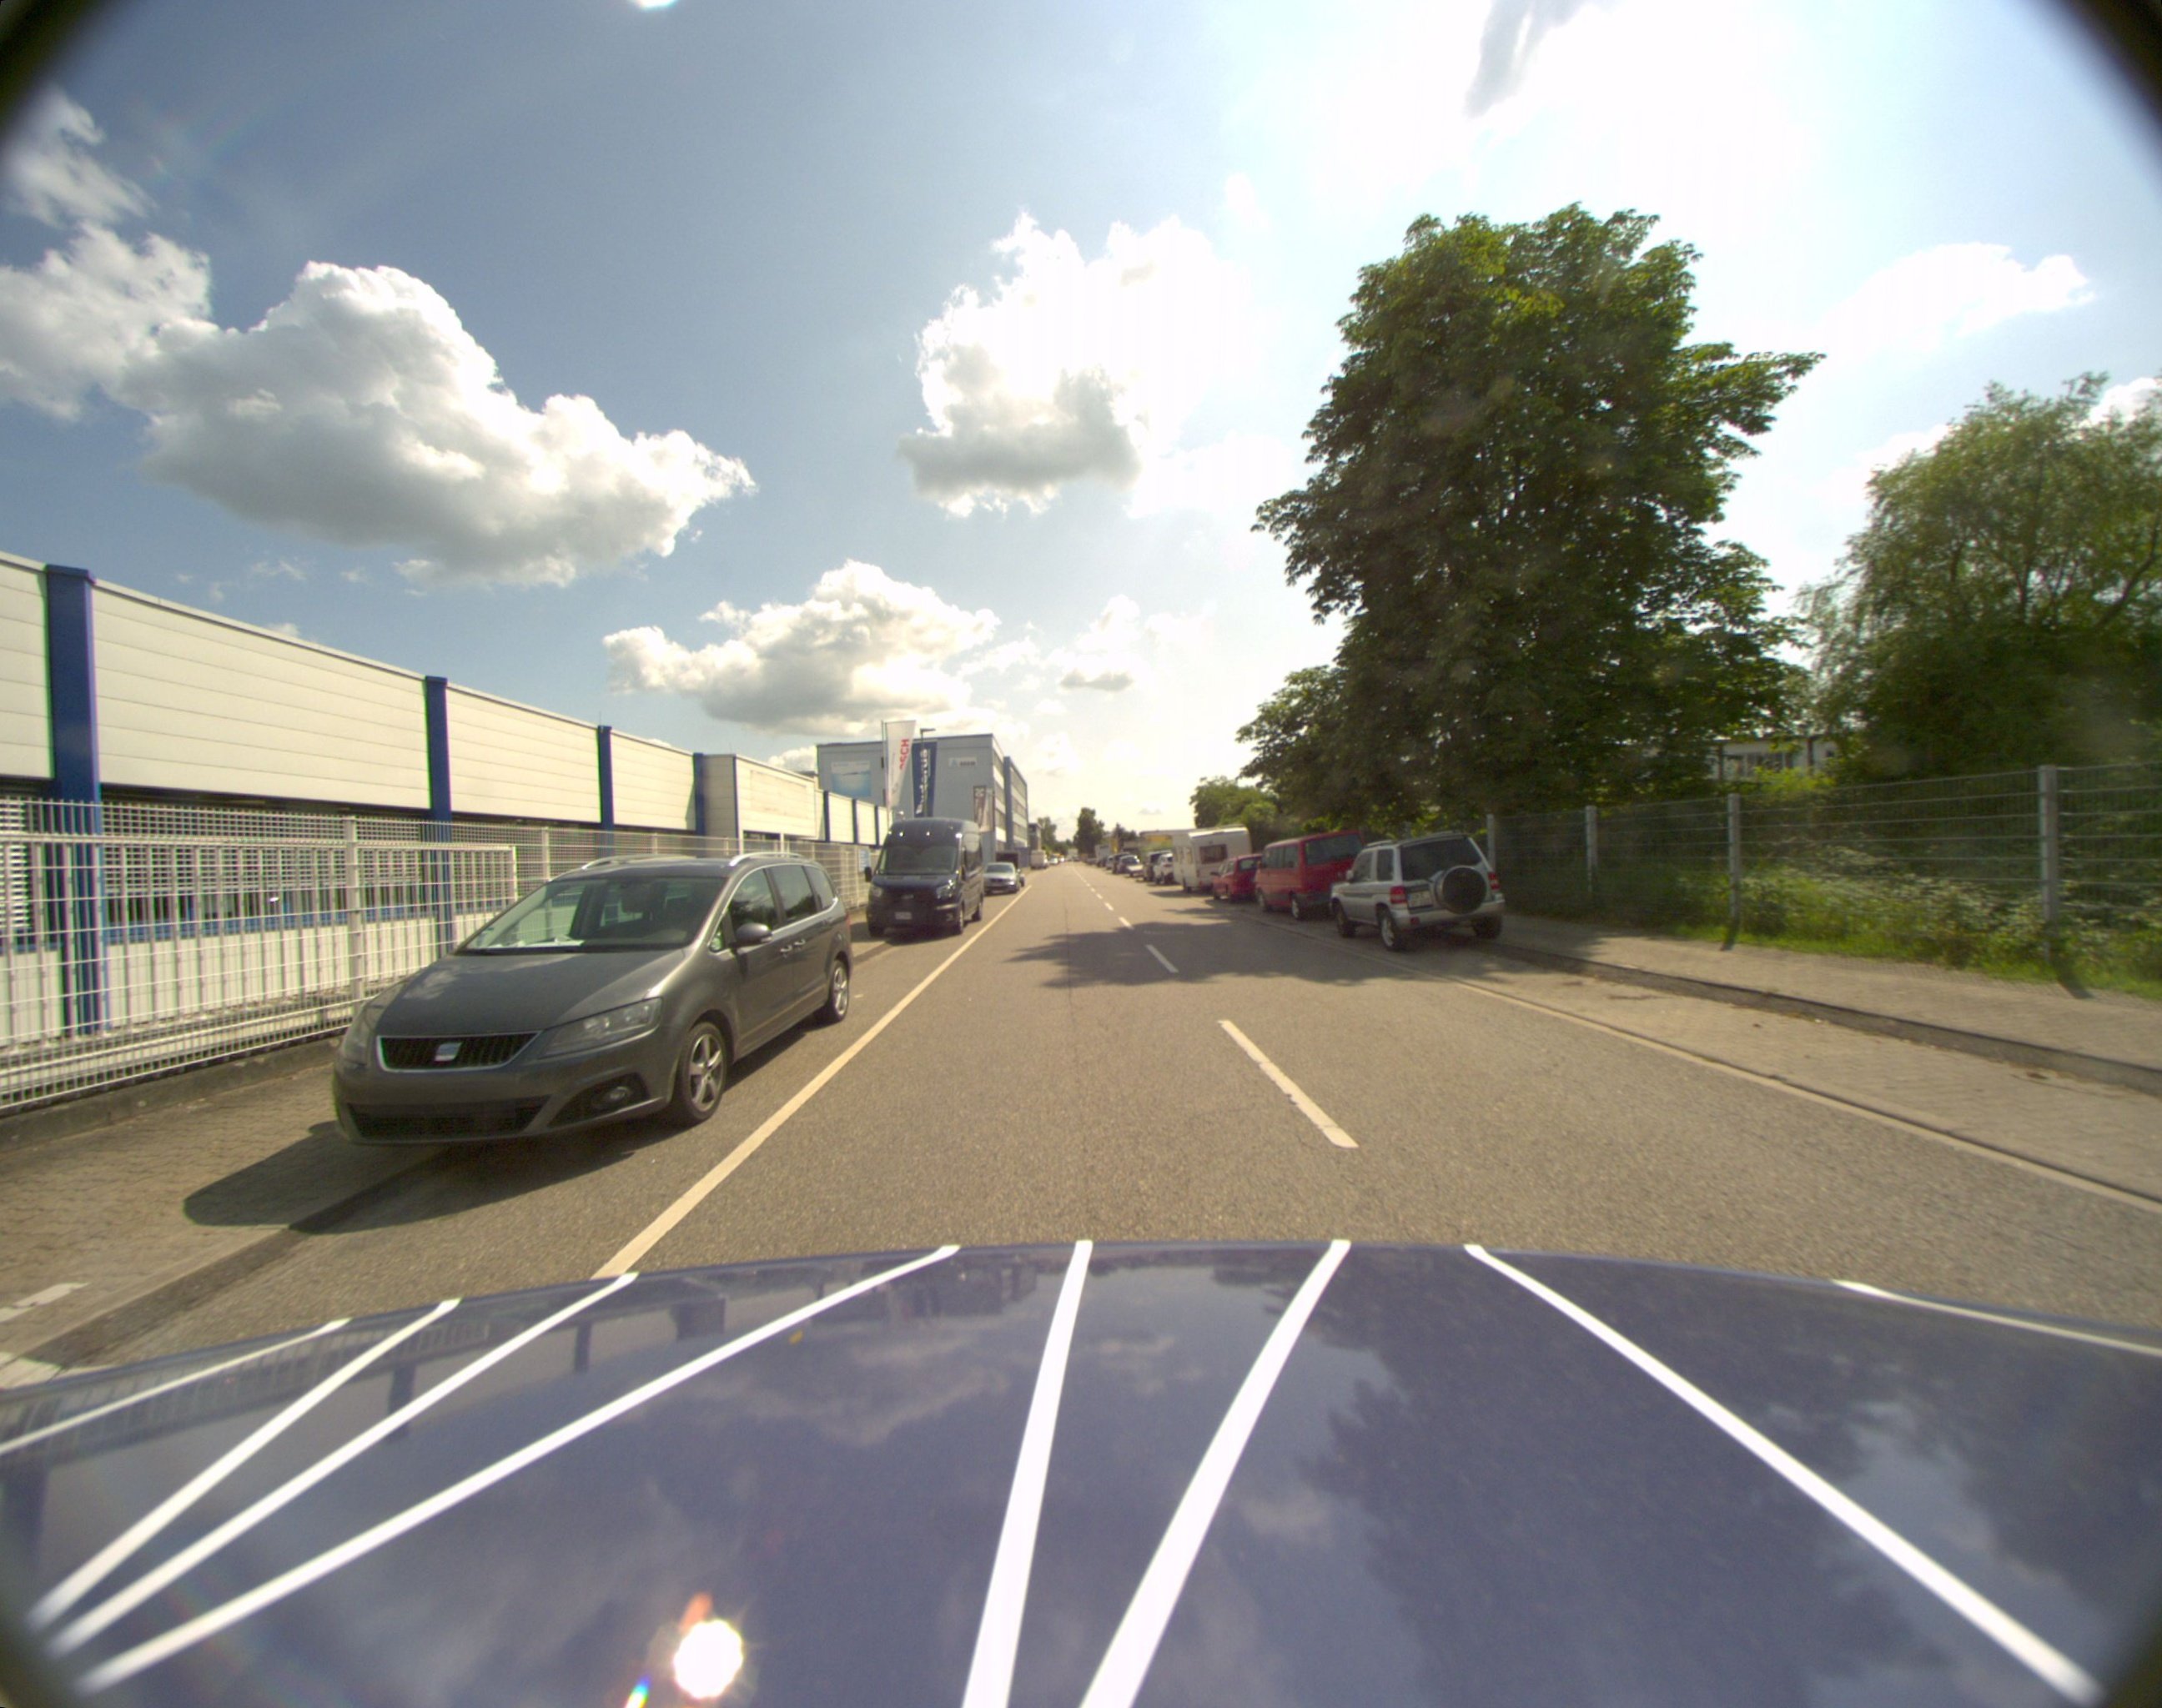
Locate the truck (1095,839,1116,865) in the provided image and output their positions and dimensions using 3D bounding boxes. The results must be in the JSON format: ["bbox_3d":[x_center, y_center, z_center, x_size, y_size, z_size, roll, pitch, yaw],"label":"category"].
[{"bbox_3d":[3.569,-0.260,110.235,2.256,3.342,6.906,-7,0,-2],"label":"truck"}]

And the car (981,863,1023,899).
[{"bbox_3d":[-3.630,1.211,35.481,1.576,1.498,4.132,-2,0,-2],"label":"car"}]

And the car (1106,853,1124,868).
[{"bbox_3d":[3.764,0.671,83.580,1.619,1.475,3.709,-4,0,-1],"label":"car"}]

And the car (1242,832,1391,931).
[{"bbox_3d":[5.740,0.596,19.267,1.903,1.943,4.957,-8,1,-1],"label":"car"}]

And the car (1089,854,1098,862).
[{"bbox_3d":[3.582,1.075,221.111,1.997,2.289,4.003,-2,0,9],"label":"car"}]

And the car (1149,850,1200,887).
[{"bbox_3d":[4.930,0.737,40.661,1.688,1.682,4.443,-7,0,-4],"label":"car"}]

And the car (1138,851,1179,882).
[{"bbox_3d":[4.737,0.725,47.083,1.832,1.783,4.734,-2,0,-2],"label":"car"}]

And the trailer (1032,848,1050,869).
[{"bbox_3d":[-5.105,0.552,97.880,1.873,2.538,5.072,-2,0,2],"label":"trailer"}]

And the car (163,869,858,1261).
[{"bbox_3d":[-3.279,1.014,5.768,1.830,1.655,4.555,-2,0,-1],"label":"car"}]

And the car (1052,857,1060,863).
[{"bbox_3d":[-5.980,1.498,181.345,1.657,1.324,3.999,-2,0,-1],"label":"car"}]

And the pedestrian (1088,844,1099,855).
[{"bbox_3d":[2.531,-0.897,154.552,1.998,2.002,4.000,-3,1,1],"label":"pedestrian"}]

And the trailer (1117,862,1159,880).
[{"bbox_3d":[4.135,1.215,56.341,2.277,0.878,7.130,-7,0,-2],"label":"trailer"}]

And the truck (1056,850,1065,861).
[{"bbox_3d":[-5.710,0.412,213.378,2.403,2.787,6.375,-2,0,1],"label":"truck"}]

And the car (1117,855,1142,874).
[{"bbox_3d":[4.132,0.854,64.906,1.581,1.504,4.200,-3,0,-3],"label":"car"}]

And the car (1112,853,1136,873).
[{"bbox_3d":[3.929,0.839,70.150,1.806,1.739,4.712,-2,0,-2],"label":"car"}]

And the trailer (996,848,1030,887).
[{"bbox_3d":[-3.780,0.738,42.461,1.605,2.025,2.740,-3,0,-2],"label":"trailer"}]

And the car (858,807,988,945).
[{"bbox_3d":[-3.578,0.450,18.500,1.943,2.732,6.153,-2,0,-1],"label":"car"}]

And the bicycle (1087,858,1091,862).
[{"bbox_3d":[1.372,1.104,133.720,0.589,0.737,2.125,-2,0,1],"label":"bicycle"}]

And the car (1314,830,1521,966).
[{"bbox_3d":[5.458,0.638,12.909,1.704,1.791,3.826,-6,0,1],"label":"car"}]

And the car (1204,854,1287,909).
[{"bbox_3d":[5.382,0.837,25.445,1.629,1.523,4.267,-6,0,-1],"label":"car"}]

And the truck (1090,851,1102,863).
[{"bbox_3d":[3.038,0.535,153.730,2.133,2.225,7.350,-5,0,2],"label":"truck"}]

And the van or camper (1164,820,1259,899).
[{"bbox_3d":[5.355,0.203,32.364,2.269,2.787,6.831,-6,0,-3],"label":"van or camper"}]
